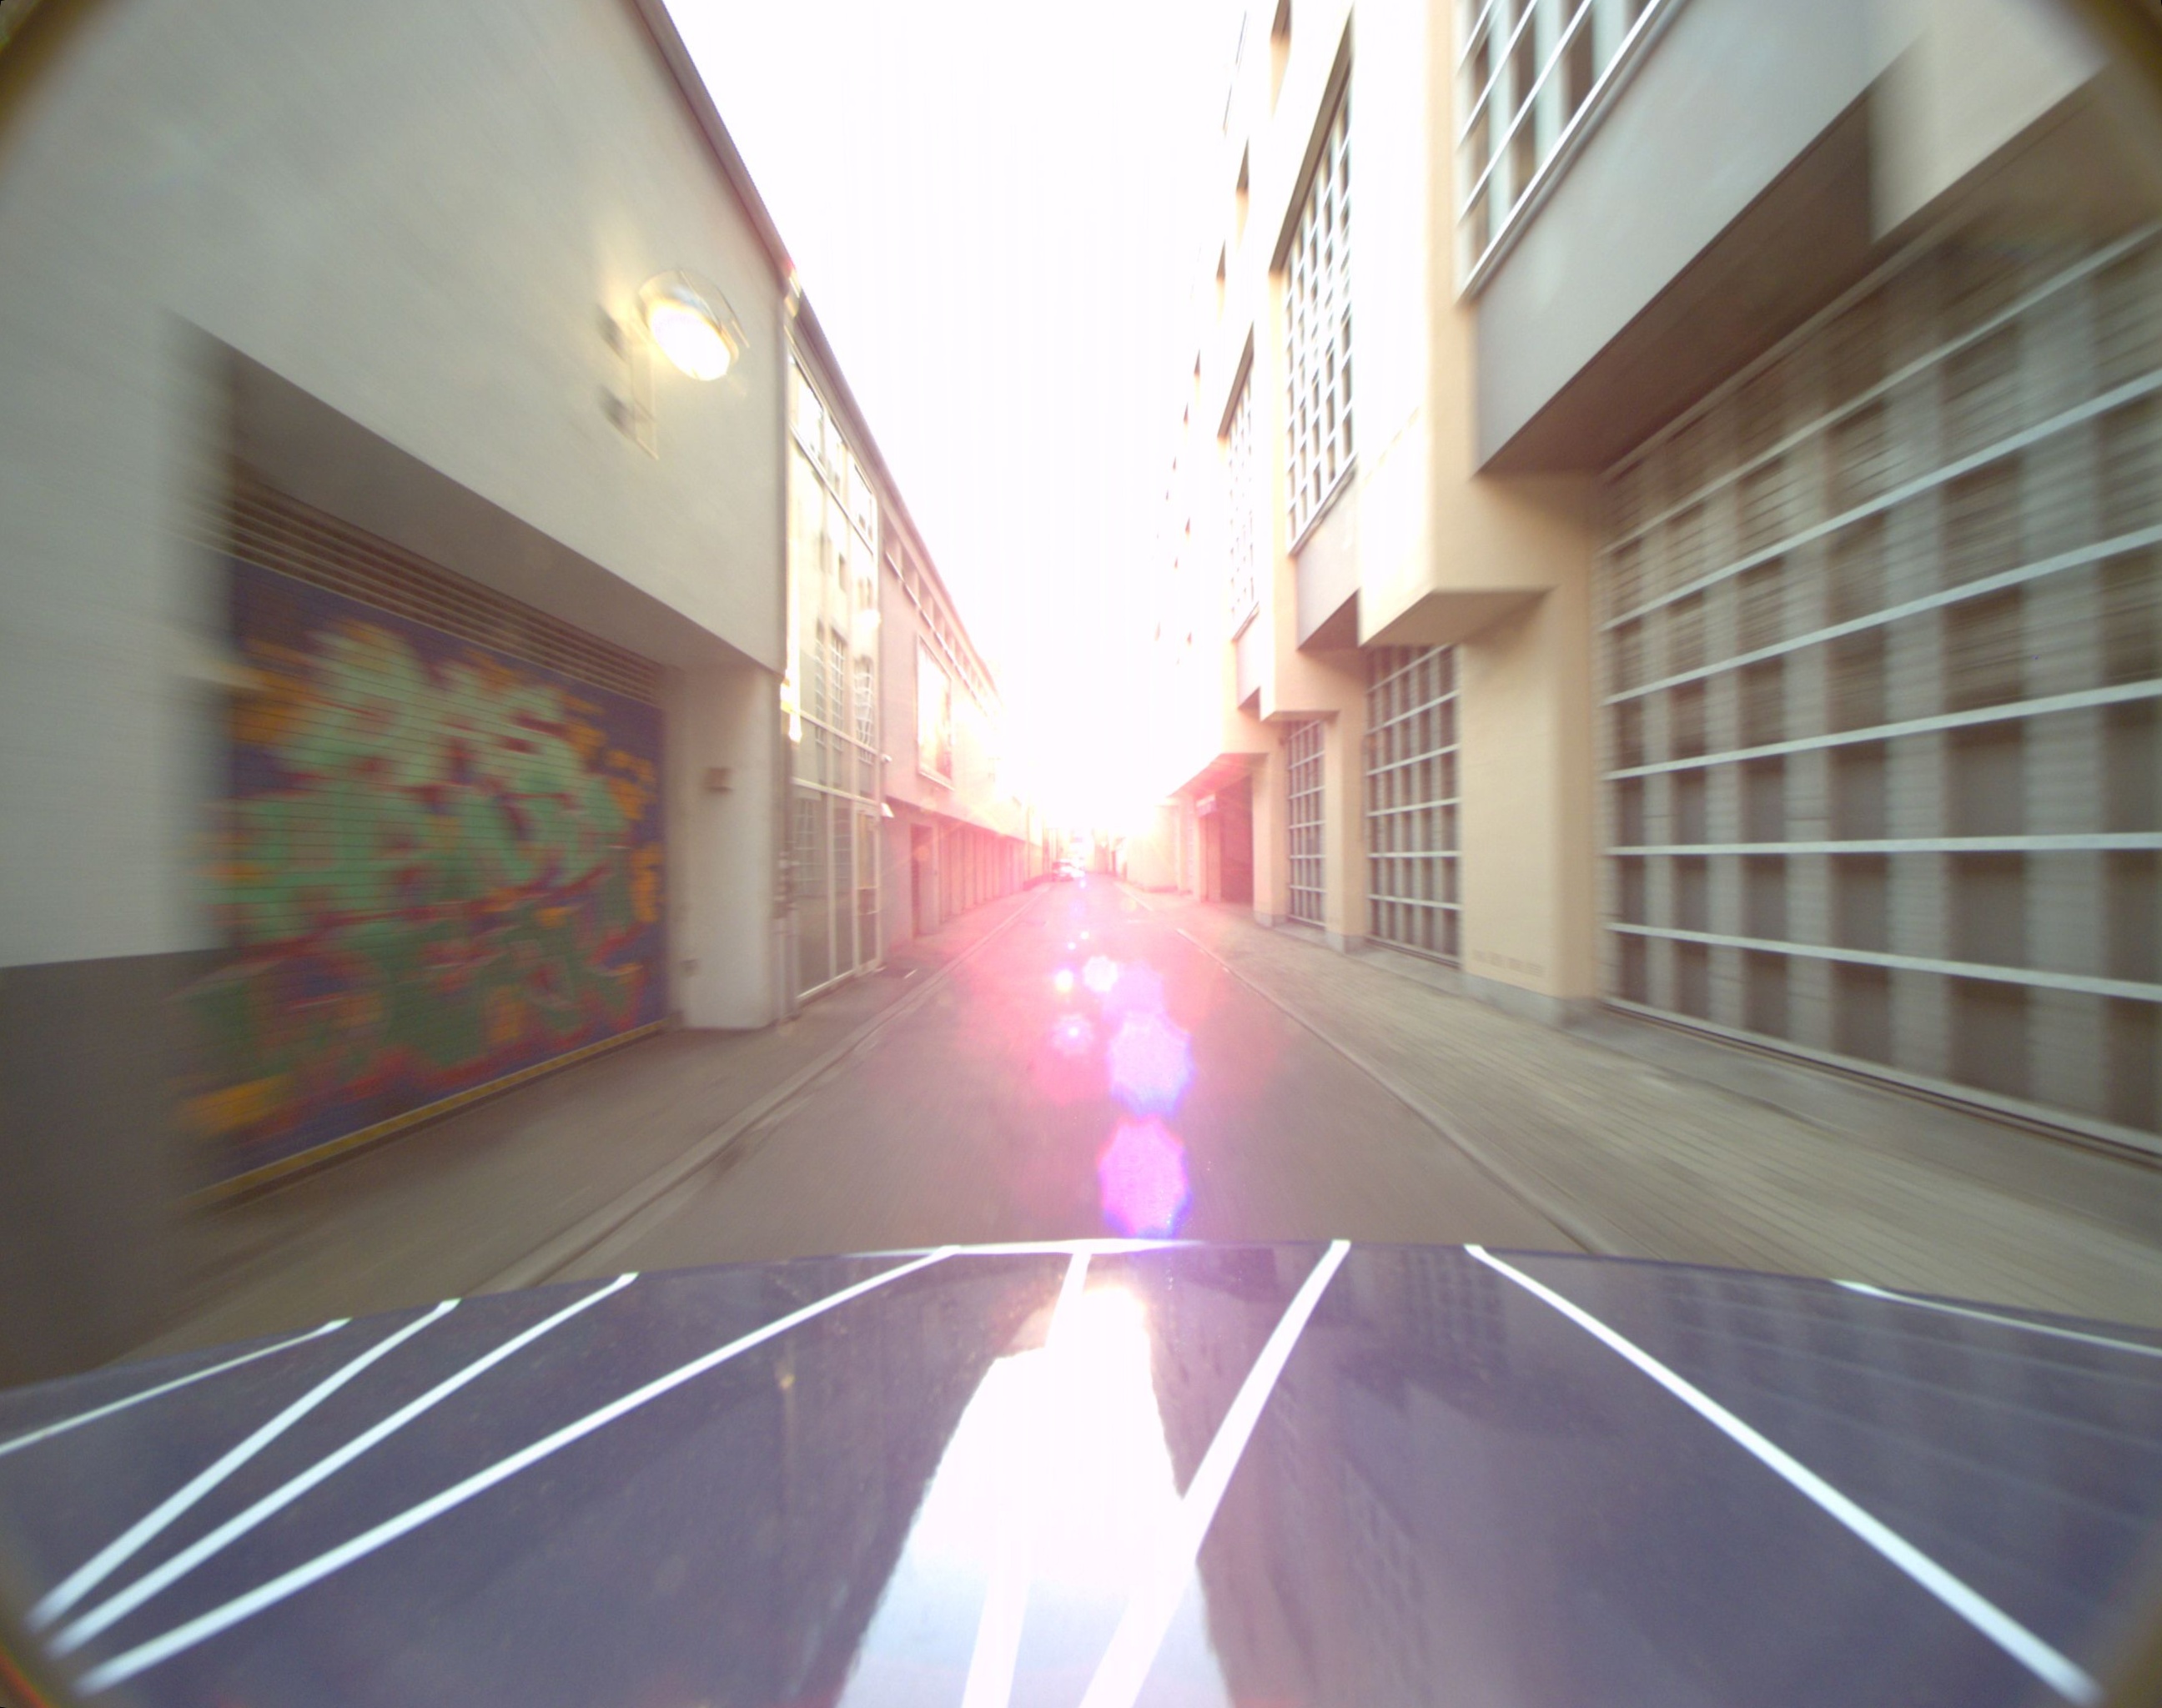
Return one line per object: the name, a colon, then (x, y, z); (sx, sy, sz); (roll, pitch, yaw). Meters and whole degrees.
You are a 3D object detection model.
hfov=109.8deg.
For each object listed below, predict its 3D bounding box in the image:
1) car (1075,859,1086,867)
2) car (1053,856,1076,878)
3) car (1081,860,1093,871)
car: (-0.137, 1.822, 149.053); (1.806, 1.415, 3.754); (-2, 0, -3)
car: (-1.335, 1.094, 64.635); (1.764, 1.756, 4.750); (-3, 0, 0)
car: (0.977, 1.995, 130.441); (1.999, 1.805, 4.000); (-3, 0, -1)
